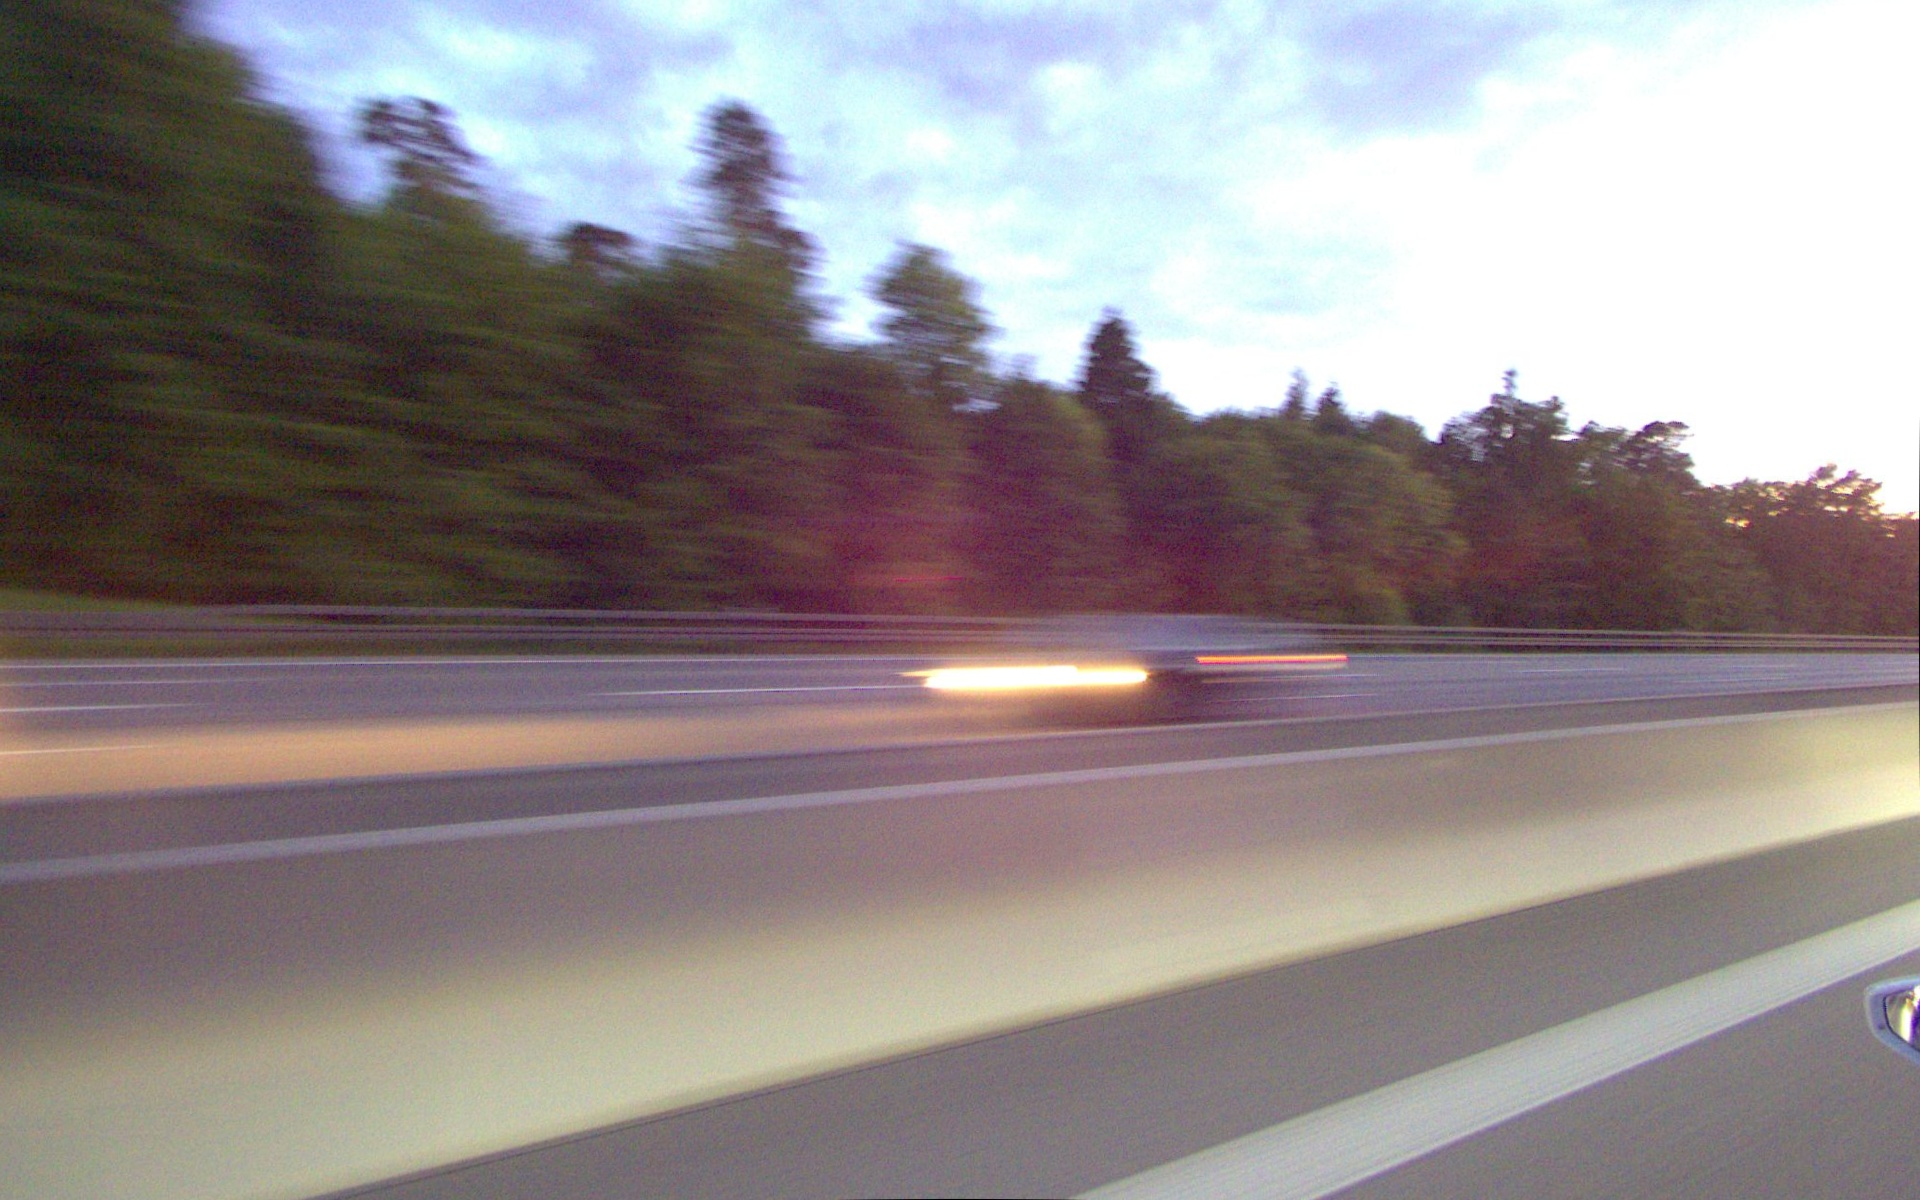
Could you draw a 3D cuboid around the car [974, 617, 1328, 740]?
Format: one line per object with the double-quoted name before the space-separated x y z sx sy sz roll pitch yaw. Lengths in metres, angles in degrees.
"car" 2.730 1.003 13.925 4.882 1.420 1.767 2 0 -31
